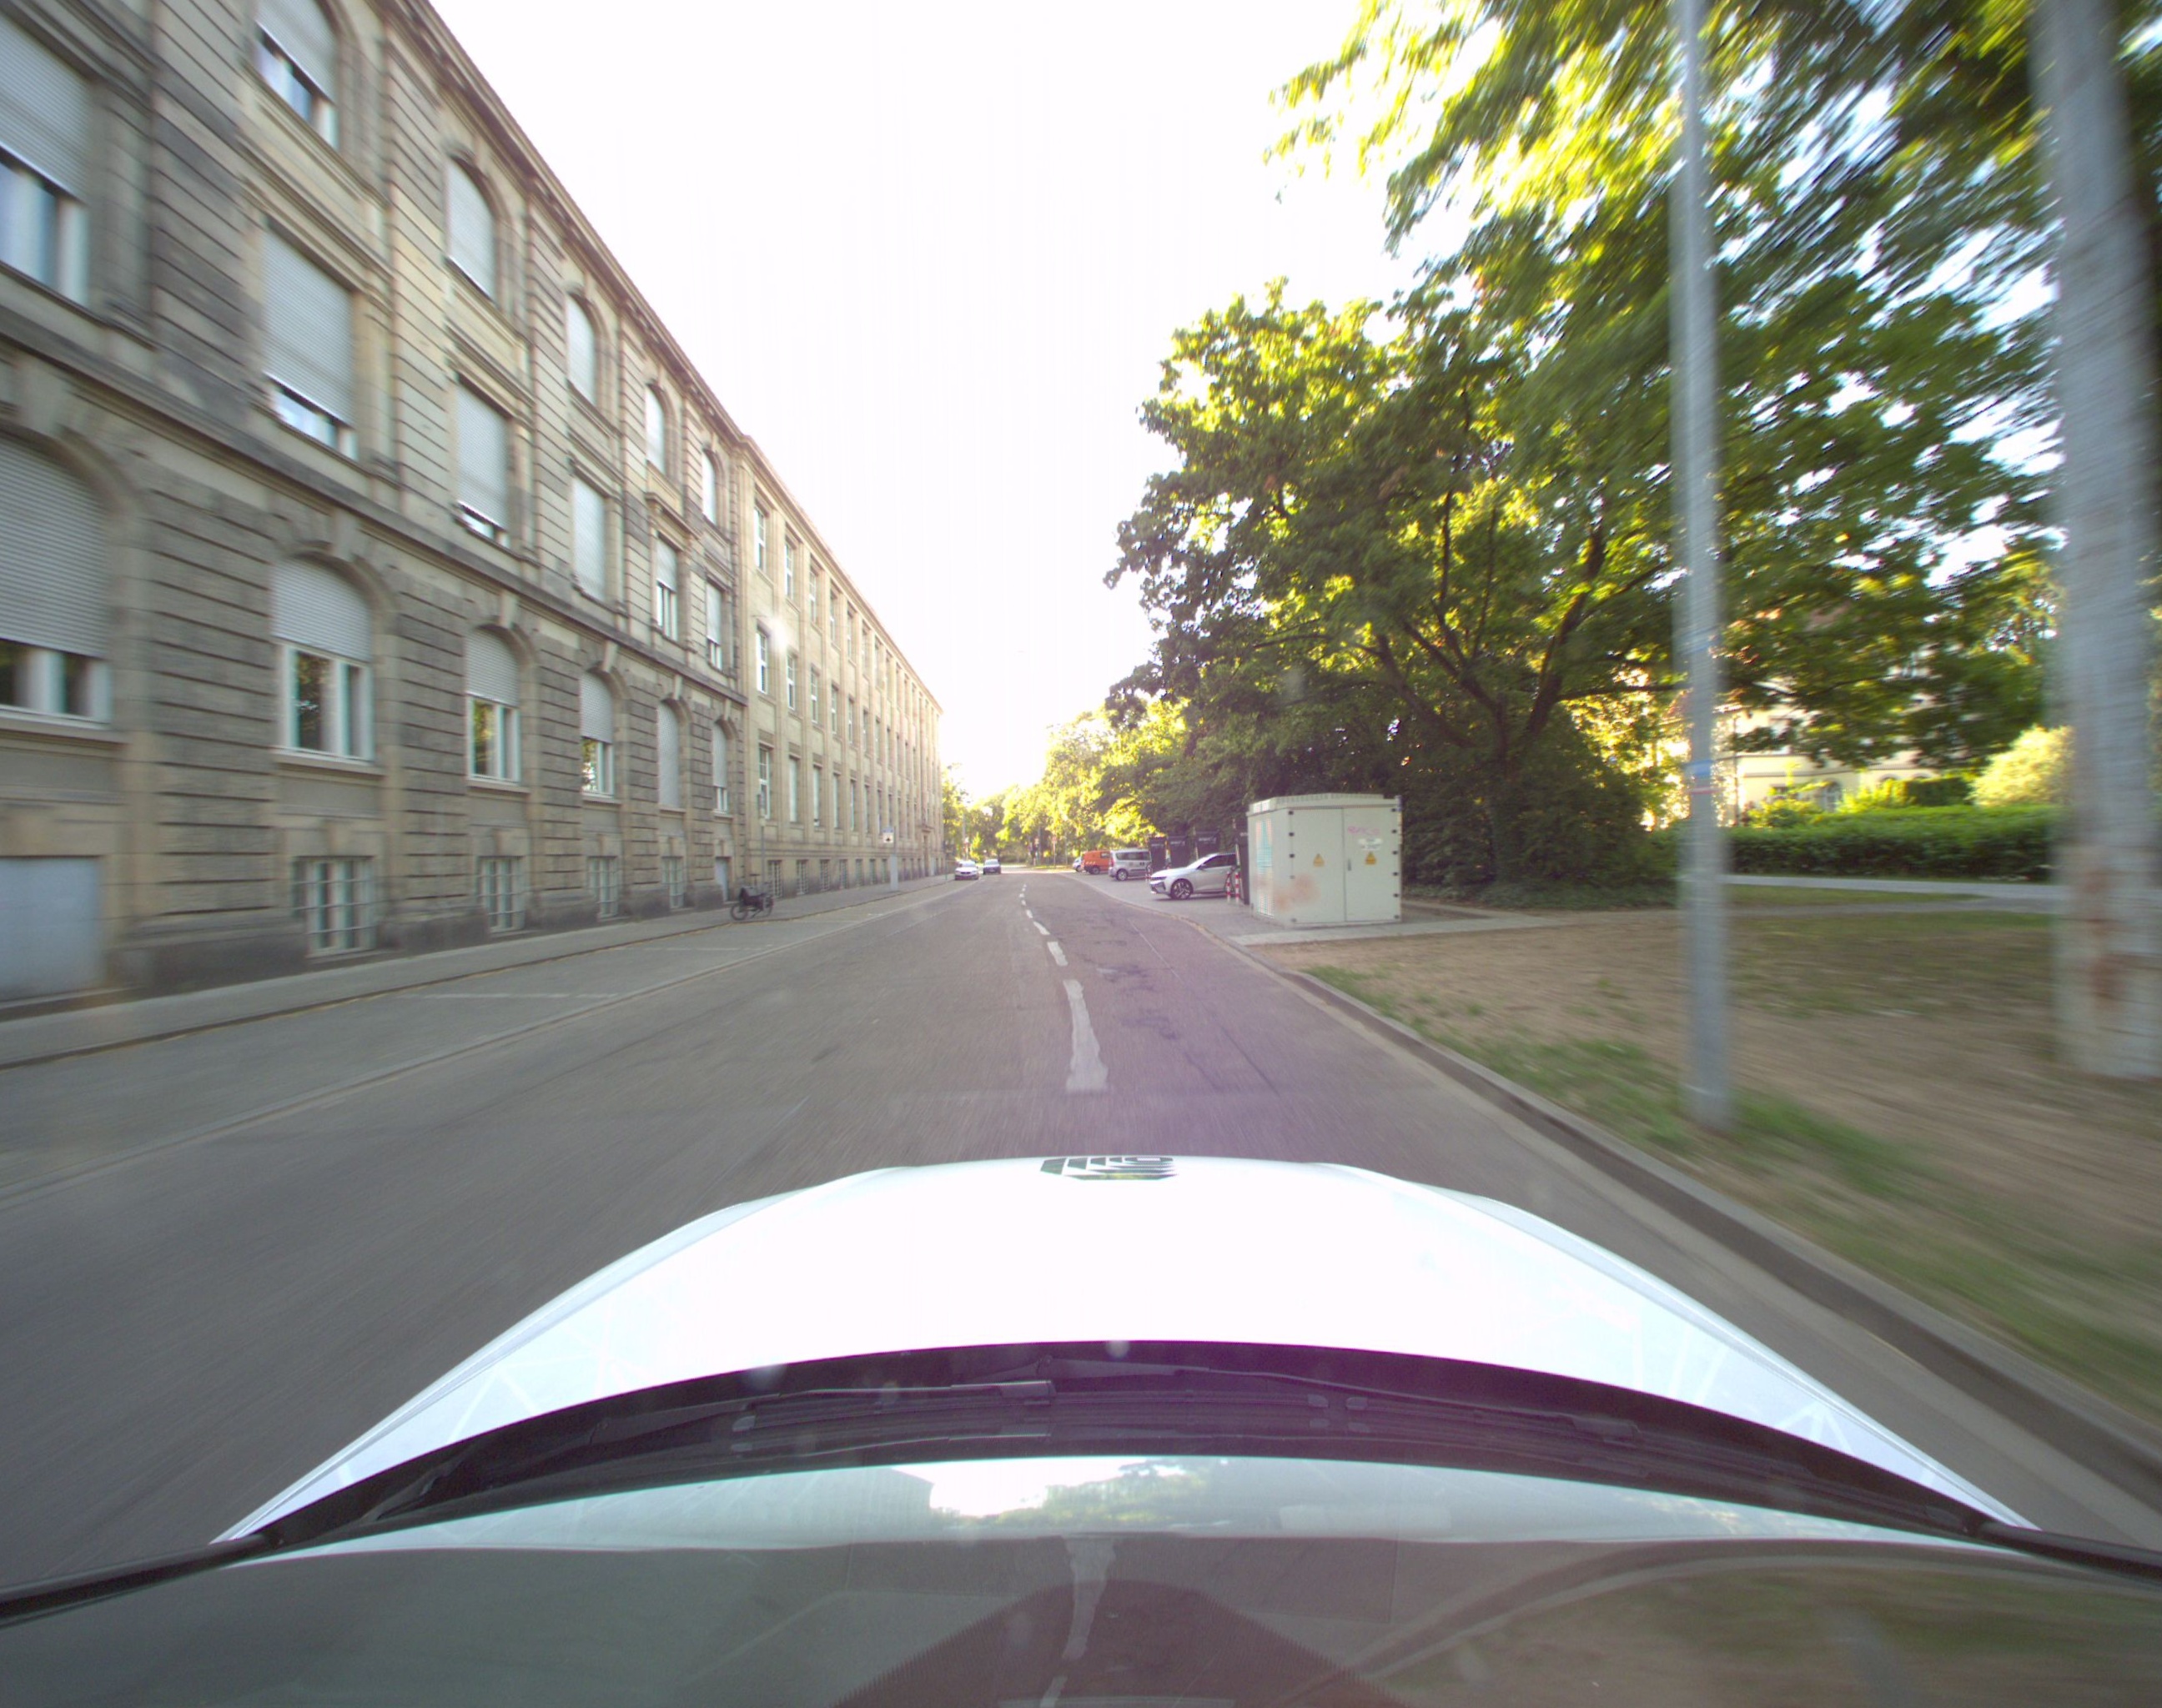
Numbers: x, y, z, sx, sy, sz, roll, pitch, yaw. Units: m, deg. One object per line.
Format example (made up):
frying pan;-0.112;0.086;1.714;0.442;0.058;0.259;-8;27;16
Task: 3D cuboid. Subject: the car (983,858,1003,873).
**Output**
car;-8.821;1.122;81.673;1.876;1.466;4.364;-1;0;-6

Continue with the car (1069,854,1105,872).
car;0.576;0.846;78.817;3.144;1.503;1.535;-3;0;-10

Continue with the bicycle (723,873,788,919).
bicycle;-8.382;1.065;21.075;0.849;1.101;1.982;0;0;1

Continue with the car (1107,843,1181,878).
car;3.758;0.397;49.116;4.218;1.859;1.998;-3;-1;-2

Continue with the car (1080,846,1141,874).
car;2.448;0.478;68.397;4.818;2.013;1.796;-3;0;-10

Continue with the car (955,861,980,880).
car;-8.909;1.287;64.255;1.725;1.397;4.364;-1;0;-6

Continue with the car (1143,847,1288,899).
car;4.402;0.600;27.001;4.432;1.469;1.780;-3;0;-4
